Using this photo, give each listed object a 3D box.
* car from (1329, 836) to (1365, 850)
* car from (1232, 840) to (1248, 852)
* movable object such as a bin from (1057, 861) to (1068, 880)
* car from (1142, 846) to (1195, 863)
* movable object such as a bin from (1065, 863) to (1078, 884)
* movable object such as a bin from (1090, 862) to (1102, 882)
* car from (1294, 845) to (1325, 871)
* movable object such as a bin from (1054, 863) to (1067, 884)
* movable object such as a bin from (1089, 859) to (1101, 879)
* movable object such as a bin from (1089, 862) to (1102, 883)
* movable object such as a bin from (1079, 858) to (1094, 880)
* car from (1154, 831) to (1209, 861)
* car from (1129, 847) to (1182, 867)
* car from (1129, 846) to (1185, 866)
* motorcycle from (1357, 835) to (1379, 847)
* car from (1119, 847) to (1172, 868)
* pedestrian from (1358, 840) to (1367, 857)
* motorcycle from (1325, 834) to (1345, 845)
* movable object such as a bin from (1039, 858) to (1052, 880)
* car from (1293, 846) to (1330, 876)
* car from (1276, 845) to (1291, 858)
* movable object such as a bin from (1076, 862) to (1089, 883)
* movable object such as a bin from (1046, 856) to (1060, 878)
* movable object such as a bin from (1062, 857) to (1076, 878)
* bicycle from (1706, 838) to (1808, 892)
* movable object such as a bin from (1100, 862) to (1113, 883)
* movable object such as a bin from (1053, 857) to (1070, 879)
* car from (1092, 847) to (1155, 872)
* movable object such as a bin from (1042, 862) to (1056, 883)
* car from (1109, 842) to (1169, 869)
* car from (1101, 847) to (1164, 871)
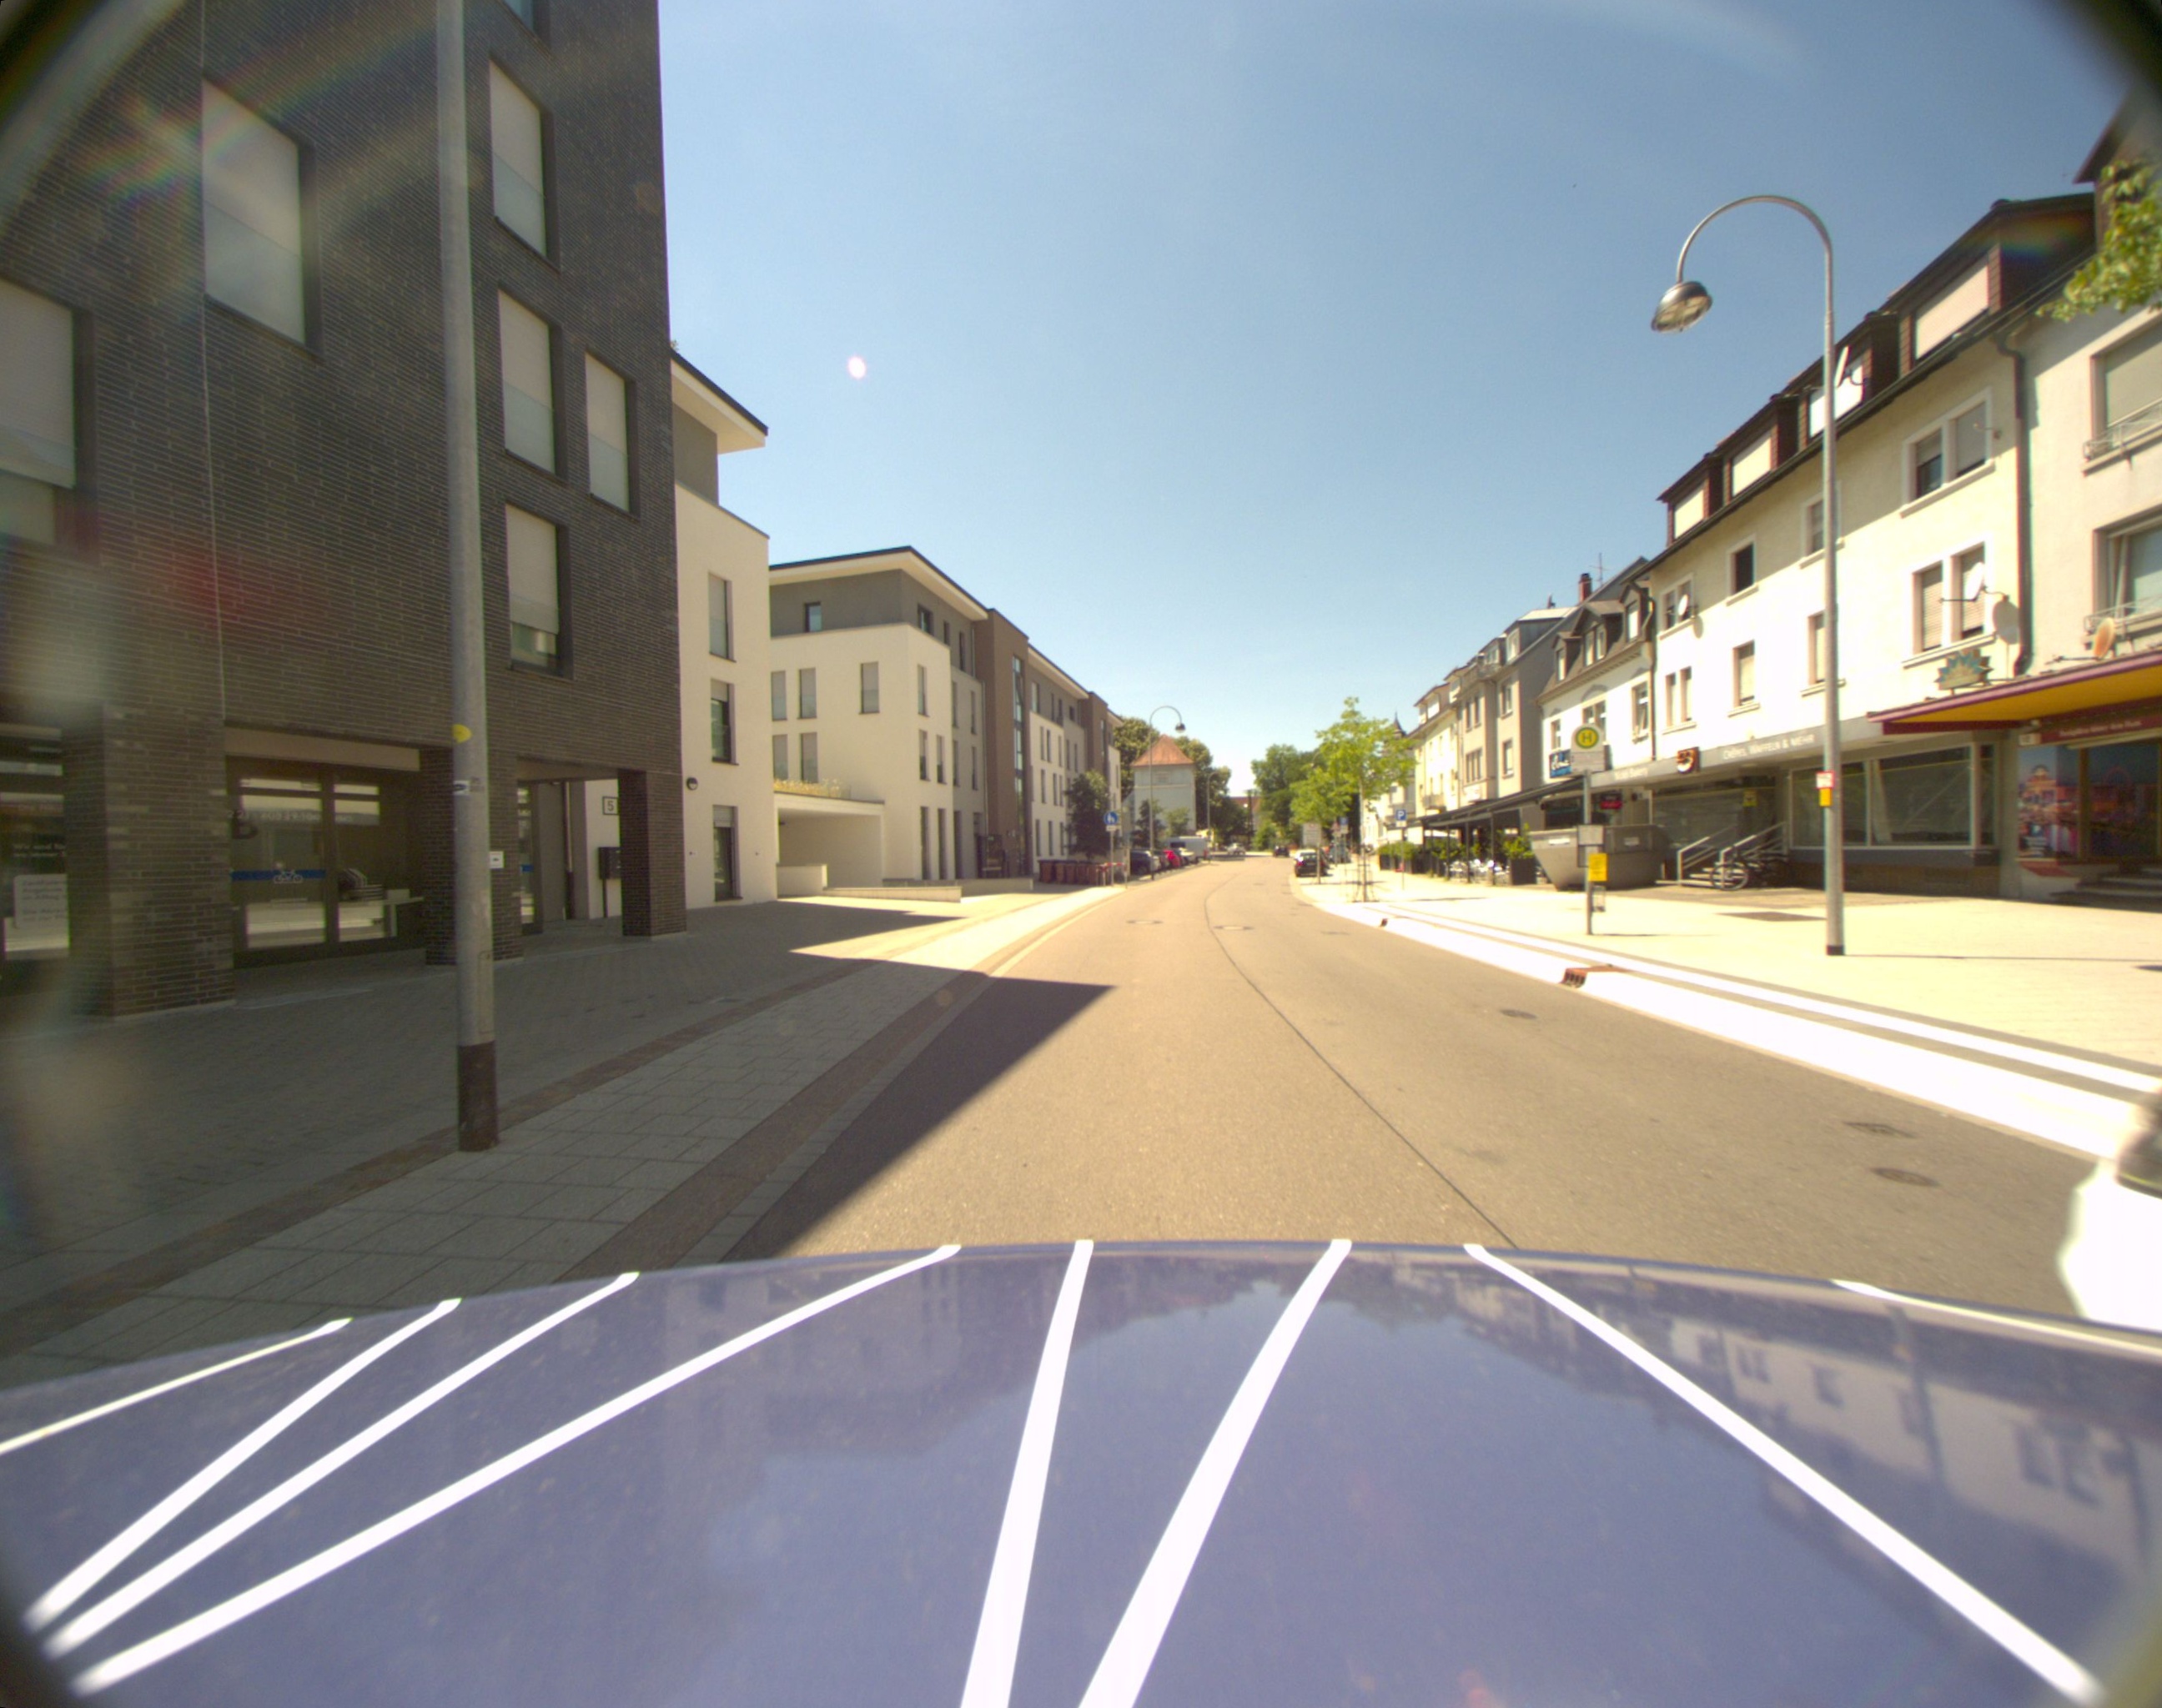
[{"bbox_3d":[32.533,-1.329,92.931,4.073,1.729,1.817,0,1,19],"label":"car"},{"bbox_3d":[22.600,-1.170,108.325,1.684,1.475,4.086,2,2,5],"label":"car"},{"bbox_3d":[-0.913,0.786,36.853,0.483,0.918,0.437,1,2,-8],"label":"movable object such as a bin"},{"bbox_3d":[7.675,0.038,66.682,4.376,1.520,1.721,0,1,14],"label":"car"},{"bbox_3d":[-0.427,0.875,34.880,0.474,0.925,0.529,1,2,14],"label":"movable object such as a bin"},{"bbox_3d":[0.693,0.842,35.418,0.468,0.925,0.529,1,2,14],"label":"movable object such as a bin"},{"bbox_3d":[14.911,0.217,49.459,1.683,1.475,3.773,-3,0,20],"label":"car"},{"bbox_3d":[-0.943,0.880,34.917,0.474,0.925,0.529,1,2,14],"label":"movable object such as a bin"},{"bbox_3d":[0.701,0.744,37.900,0.513,0.926,0.466,1,2,9],"label":"movable object such as a bin"},{"bbox_3d":[0.643,0.852,34.608,0.474,0.925,0.529,1,2,14],"label":"movable object such as a bin"},{"bbox_3d":[0.262,0.720,37.335,0.569,1.054,0.561,1,2,16],"label":"movable object such as a bin"},{"bbox_3d":[9.448,-0.775,71.274,4.861,2.720,1.853,0,1,15],"label":"car"},{"bbox_3d":[5.614,0.239,57.190,3.814,1.454,1.653,0,1,13],"label":"car"},{"bbox_3d":[6.130,0.159,61.296,4.354,1.542,1.653,0,1,11],"label":"car"},{"bbox_3d":[32.852,-1.507,87.056,2.320,1.317,0.726,0,2,17],"label":"motorcycle"},{"bbox_3d":[4.661,0.221,54.813,3.613,1.454,1.618,0,2,13],"label":"car"},{"bbox_3d":[30.524,-0.611,82.405,0.757,1.756,0.803,-1,2,4],"label":"pedestrian"},{"bbox_3d":[30.496,-1.730,91.242,2.320,1.317,0.726,0,2,17],"label":"motorcycle"},{"bbox_3d":[-1.719,0.731,36.643,0.570,1.036,0.560,1,2,1],"label":"movable object such as a bin"},{"bbox_3d":[13.380,0.384,44.381,1.757,1.437,4.453,-4,1,14],"label":"car"},{"bbox_3d":[23.013,-0.312,86.472,1.618,1.445,3.867,1,1,14],"label":"car"},{"bbox_3d":[0.084,0.847,34.753,0.474,0.925,0.529,1,2,14],"label":"movable object such as a bin"},{"bbox_3d":[-1.433,0.663,38.316,0.647,1.054,0.625,1,2,2],"label":"movable object such as a bin"},{"bbox_3d":[-0.590,0.668,38.105,0.647,1.054,0.625,1,2,2],"label":"movable object such as a bin"},{"bbox_3d":[16.805,0.271,18.930,1.768,1.227,0.617,-4,0,14],"label":"bicycle"},{"bbox_3d":[1.194,0.849,35.280,0.474,0.925,0.529,1,2,14],"label":"movable object such as a bin"},{"bbox_3d":[-0.952,0.685,37.525,0.647,1.054,0.626,1,2,16],"label":"movable object such as a bin"},{"bbox_3d":[2.663,0.346,47.393,3.661,1.437,1.536,1,2,16],"label":"car"},{"bbox_3d":[-1.481,0.843,35.117,0.474,0.925,0.529,1,2,14],"label":"movable object such as a bin"},{"bbox_3d":[3.971,0.087,51.672,3.814,1.776,1.842,0,1,12],"label":"car"},{"bbox_3d":[3.381,0.307,49.268,3.814,1.474,1.779,0,1,12],"label":"car"}]
